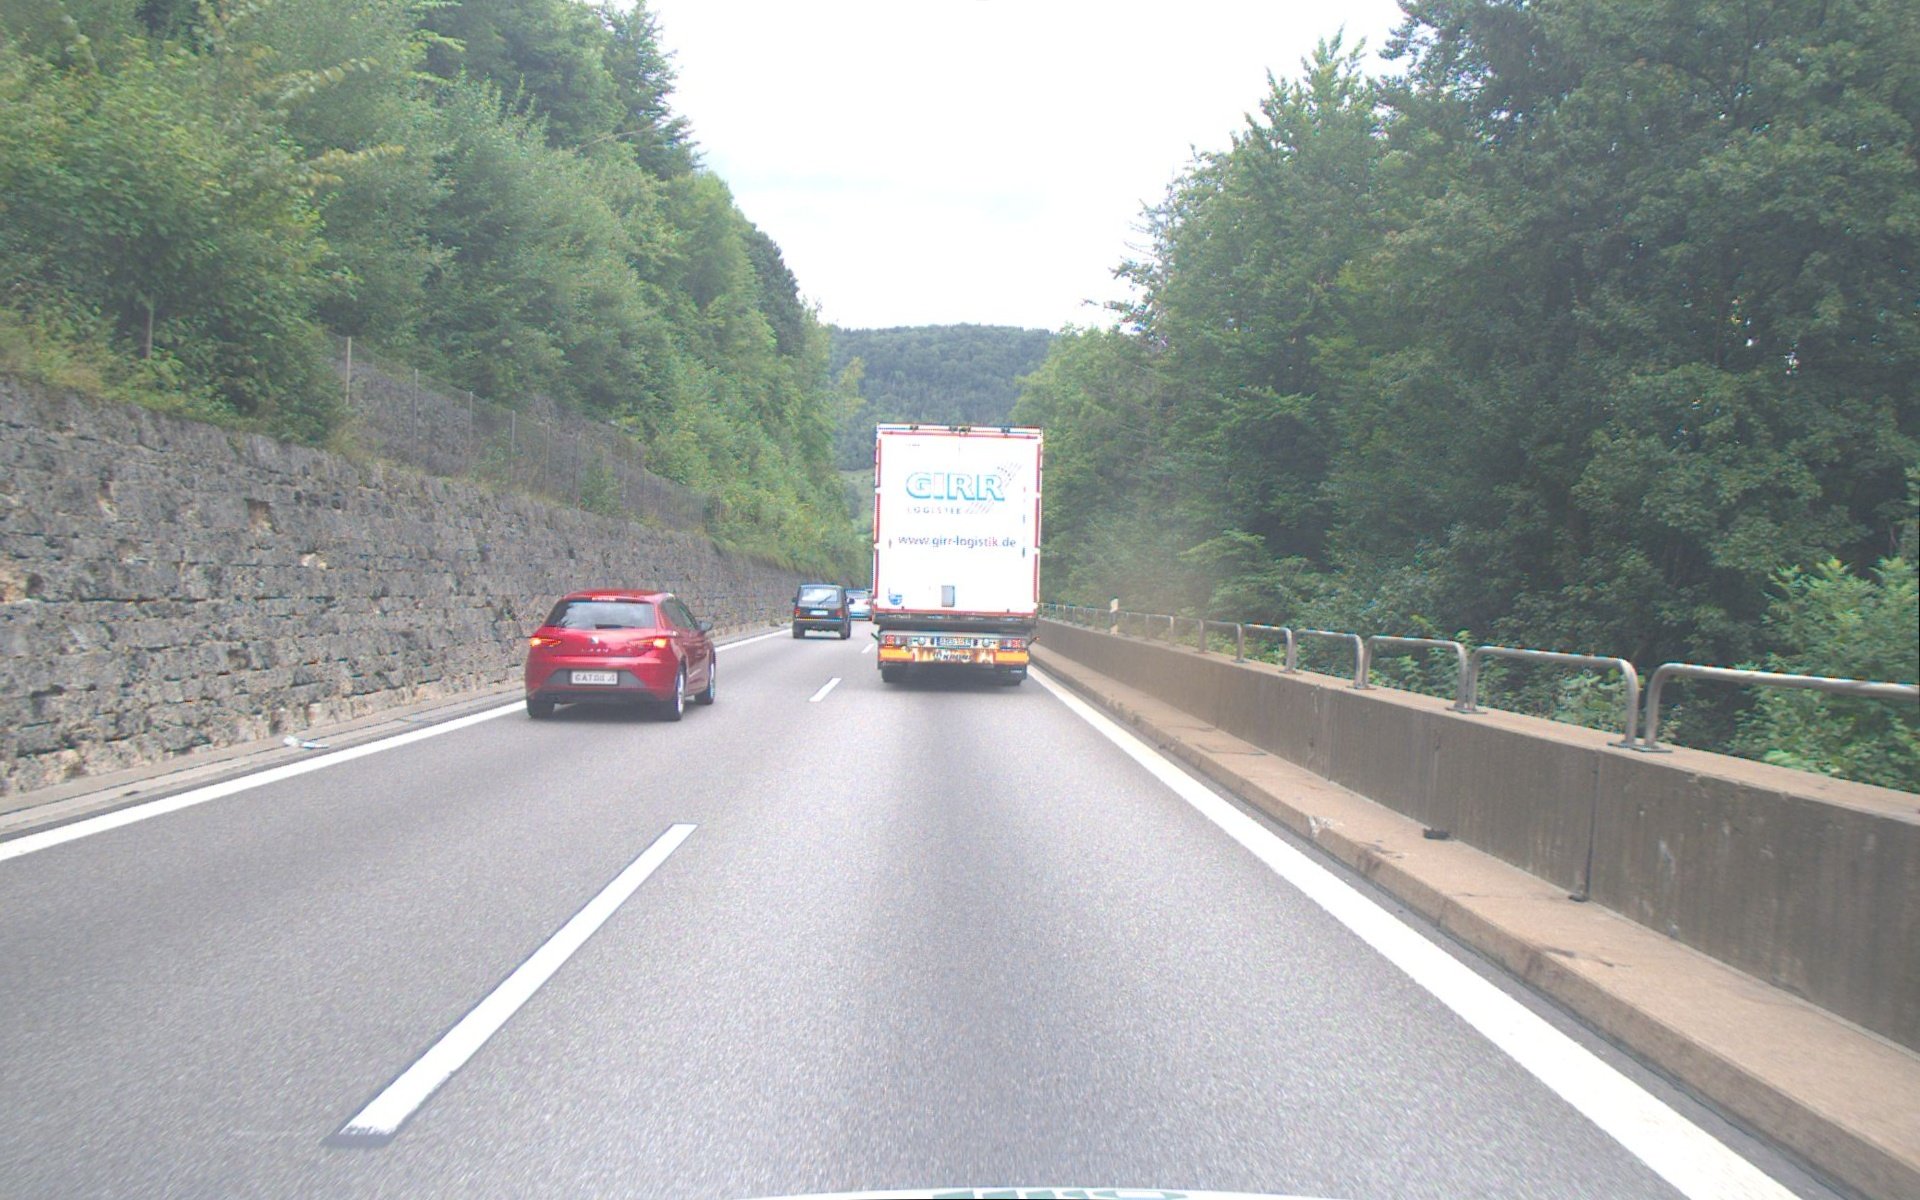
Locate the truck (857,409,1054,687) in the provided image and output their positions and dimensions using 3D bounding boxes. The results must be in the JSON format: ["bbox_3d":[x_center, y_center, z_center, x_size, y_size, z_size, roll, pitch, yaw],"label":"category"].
[{"bbox_3d":[-0.082,-0.758,28.865,2.849,4.030,9.278,1,0,0],"label":"truck"}]

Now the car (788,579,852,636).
[{"bbox_3d":[-4.258,0.231,50.845,1.635,1.667,4.067,1,0,-1],"label":"car"}]

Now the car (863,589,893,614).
[{"bbox_3d":[-5.461,0.103,110.306,1.878,1.623,4.178,1,0,-1],"label":"car"}]

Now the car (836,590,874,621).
[{"bbox_3d":[-5.251,0.267,83.280,1.694,1.512,3.999,1,0,-1],"label":"car"}]

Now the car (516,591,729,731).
[{"bbox_3d":[-3.914,0.666,19.900,1.730,1.485,4.410,1,0,-1],"label":"car"}]
